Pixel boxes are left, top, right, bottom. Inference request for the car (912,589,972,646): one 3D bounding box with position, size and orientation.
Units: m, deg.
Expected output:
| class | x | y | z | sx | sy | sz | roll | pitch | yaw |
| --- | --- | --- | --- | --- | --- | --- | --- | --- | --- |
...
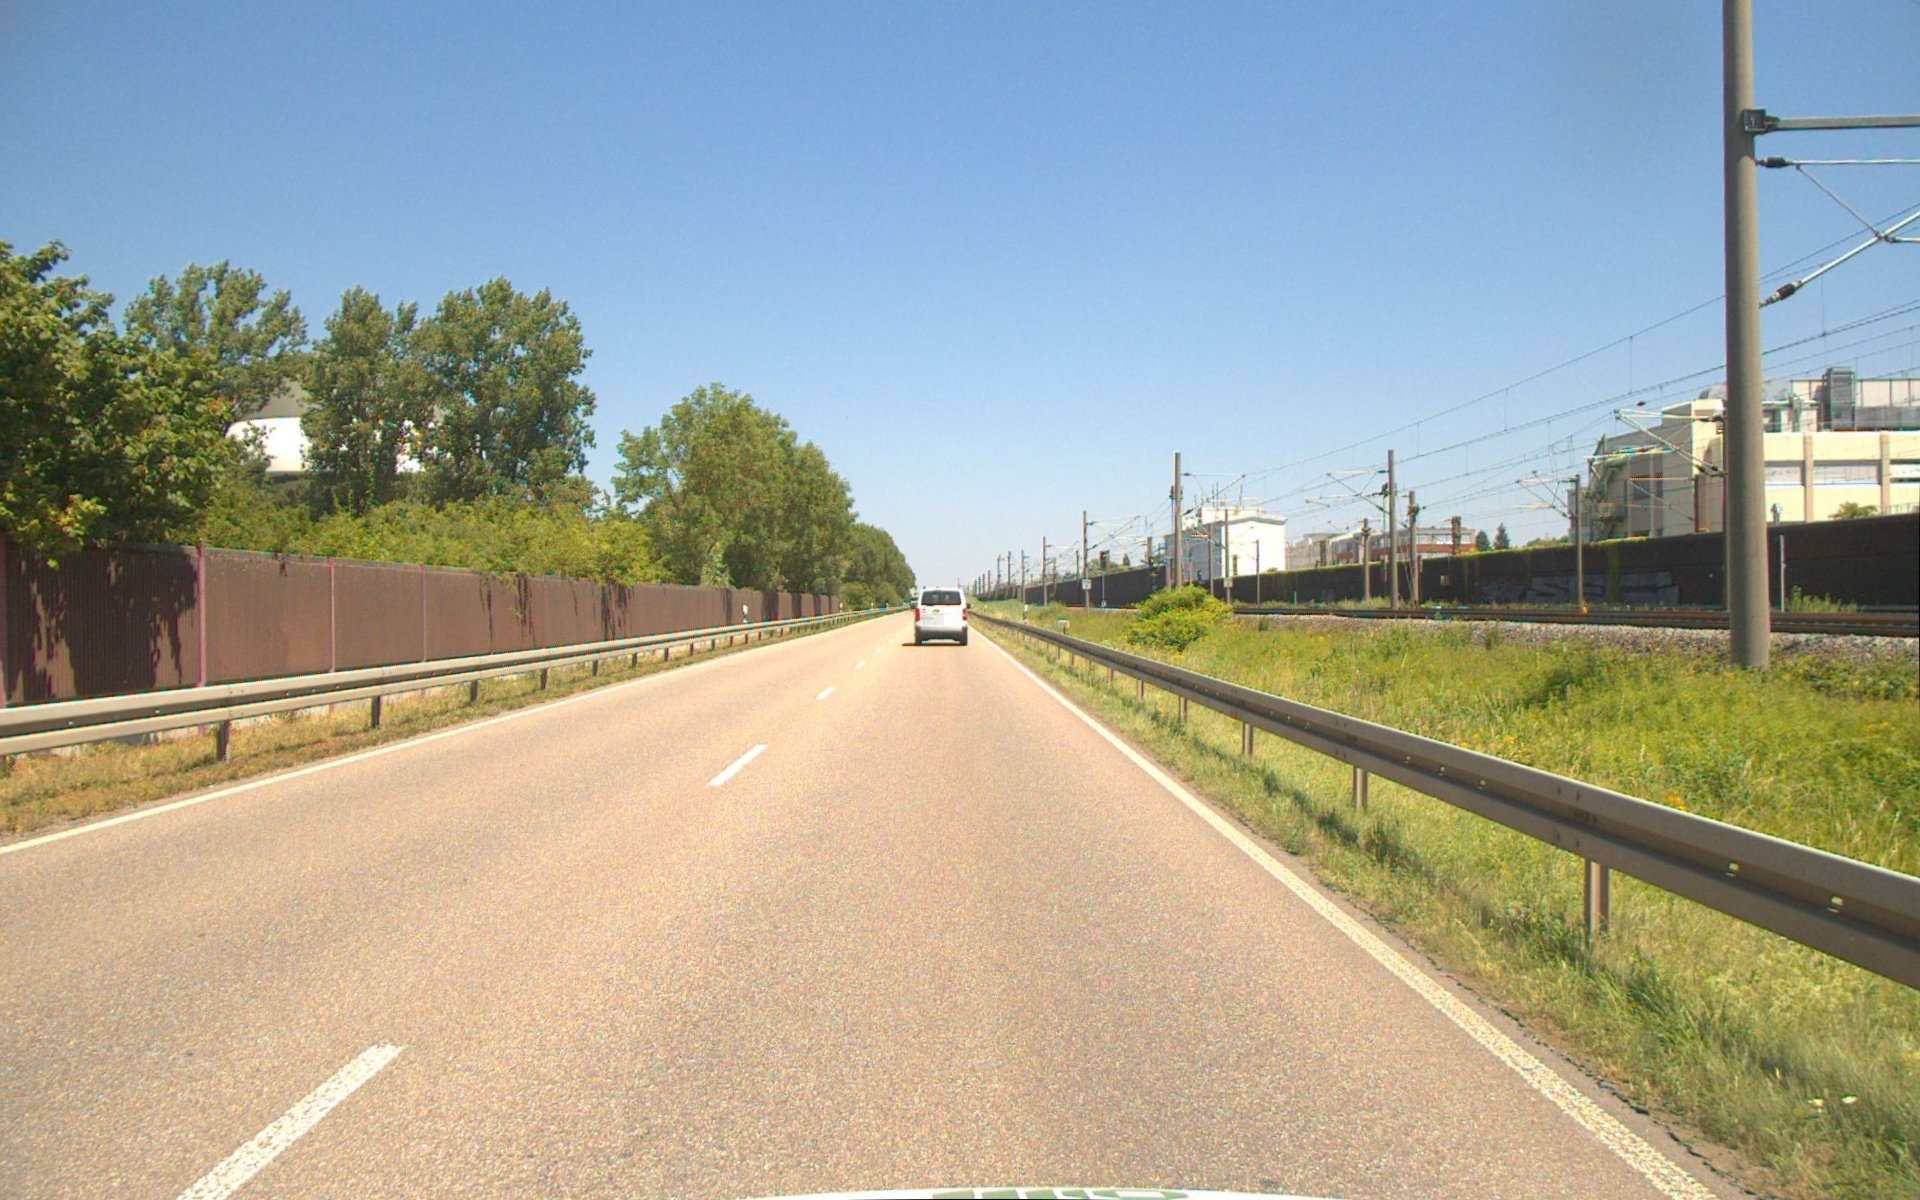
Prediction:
| class | x | y | z | sx | sy | sz | roll | pitch | yaw |
| --- | --- | --- | --- | --- | --- | --- | --- | --- | --- |
| car | -0.624 | 0.592 | 57.491 | 1.953 | 1.882 | 3.999 | 2 | 0 | -1 |
